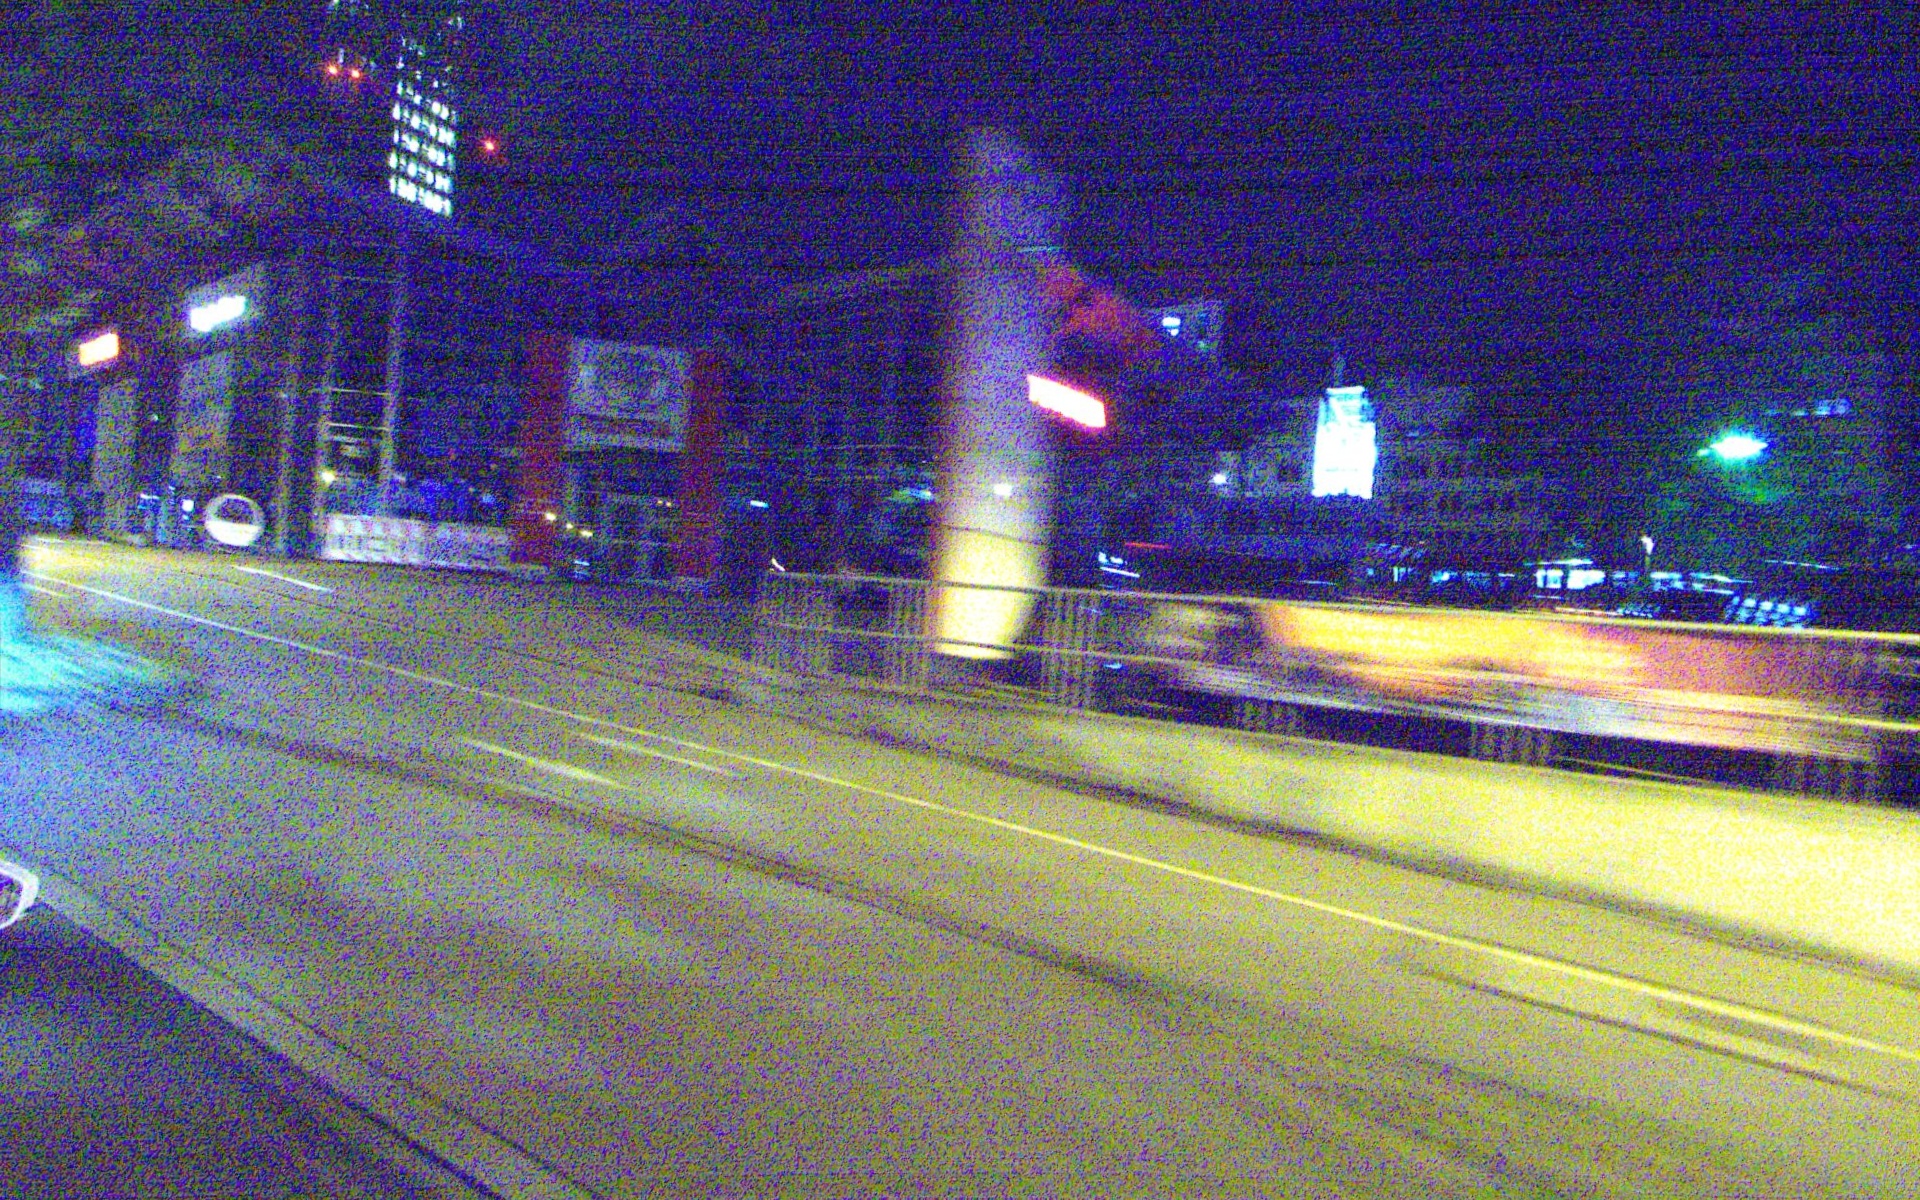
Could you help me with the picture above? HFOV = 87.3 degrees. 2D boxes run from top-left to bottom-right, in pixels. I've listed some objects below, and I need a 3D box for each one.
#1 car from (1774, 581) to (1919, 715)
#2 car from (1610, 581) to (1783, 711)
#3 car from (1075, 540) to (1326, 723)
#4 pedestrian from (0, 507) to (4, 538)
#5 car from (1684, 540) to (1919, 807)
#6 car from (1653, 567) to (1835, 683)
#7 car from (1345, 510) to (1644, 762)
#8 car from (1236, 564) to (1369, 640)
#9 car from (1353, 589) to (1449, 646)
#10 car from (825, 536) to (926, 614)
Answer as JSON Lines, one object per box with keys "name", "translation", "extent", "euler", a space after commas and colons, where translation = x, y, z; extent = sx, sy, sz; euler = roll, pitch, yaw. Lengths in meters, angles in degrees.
{"name": "car", "translation": [13.971, 0.683, 15.469], "extent": [1.723, 1.748, 4.356], "euler": [5, 2, 33]}
{"name": "car", "translation": [11.608, 0.678, 16.113], "extent": [1.789, 1.711, 3.987], "euler": [4, 1, 32]}
{"name": "car", "translation": [2.308, 0.255, 10.675], "extent": [1.707, 1.509, 3.841], "euler": [3, 1, 1]}
{"name": "pedestrian", "translation": [-32.734, -2.671, 33.468], "extent": [0.757, 1.019, 1.002], "euler": [5, -2, 16]}
{"name": "car", "translation": [6.618, 0.506, 7.283], "extent": [1.713, 1.508, 3.728], "euler": [4, 0, 29]}
{"name": "car", "translation": [15.455, 0.518, 20.124], "extent": [1.966, 1.934, 4.582], "euler": [5, 0, 28]}
{"name": "car", "translation": [4.406, 0.249, 8.511], "extent": [1.696, 1.590, 3.566], "euler": [5, 1, 27]}
{"name": "car", "translation": [8.065, 0.087, 23.490], "extent": [1.838, 1.509, 3.985], "euler": [4, 0, 35]}
{"name": "car", "translation": [13.962, 0.575, 31.774], "extent": [1.780, 1.588, 3.980], "euler": [4, 1, 38]}
{"name": "car", "translation": [-2.065, -0.644, 23.572], "extent": [1.706, 1.548, 3.770], "euler": [3, 4, -14]}
